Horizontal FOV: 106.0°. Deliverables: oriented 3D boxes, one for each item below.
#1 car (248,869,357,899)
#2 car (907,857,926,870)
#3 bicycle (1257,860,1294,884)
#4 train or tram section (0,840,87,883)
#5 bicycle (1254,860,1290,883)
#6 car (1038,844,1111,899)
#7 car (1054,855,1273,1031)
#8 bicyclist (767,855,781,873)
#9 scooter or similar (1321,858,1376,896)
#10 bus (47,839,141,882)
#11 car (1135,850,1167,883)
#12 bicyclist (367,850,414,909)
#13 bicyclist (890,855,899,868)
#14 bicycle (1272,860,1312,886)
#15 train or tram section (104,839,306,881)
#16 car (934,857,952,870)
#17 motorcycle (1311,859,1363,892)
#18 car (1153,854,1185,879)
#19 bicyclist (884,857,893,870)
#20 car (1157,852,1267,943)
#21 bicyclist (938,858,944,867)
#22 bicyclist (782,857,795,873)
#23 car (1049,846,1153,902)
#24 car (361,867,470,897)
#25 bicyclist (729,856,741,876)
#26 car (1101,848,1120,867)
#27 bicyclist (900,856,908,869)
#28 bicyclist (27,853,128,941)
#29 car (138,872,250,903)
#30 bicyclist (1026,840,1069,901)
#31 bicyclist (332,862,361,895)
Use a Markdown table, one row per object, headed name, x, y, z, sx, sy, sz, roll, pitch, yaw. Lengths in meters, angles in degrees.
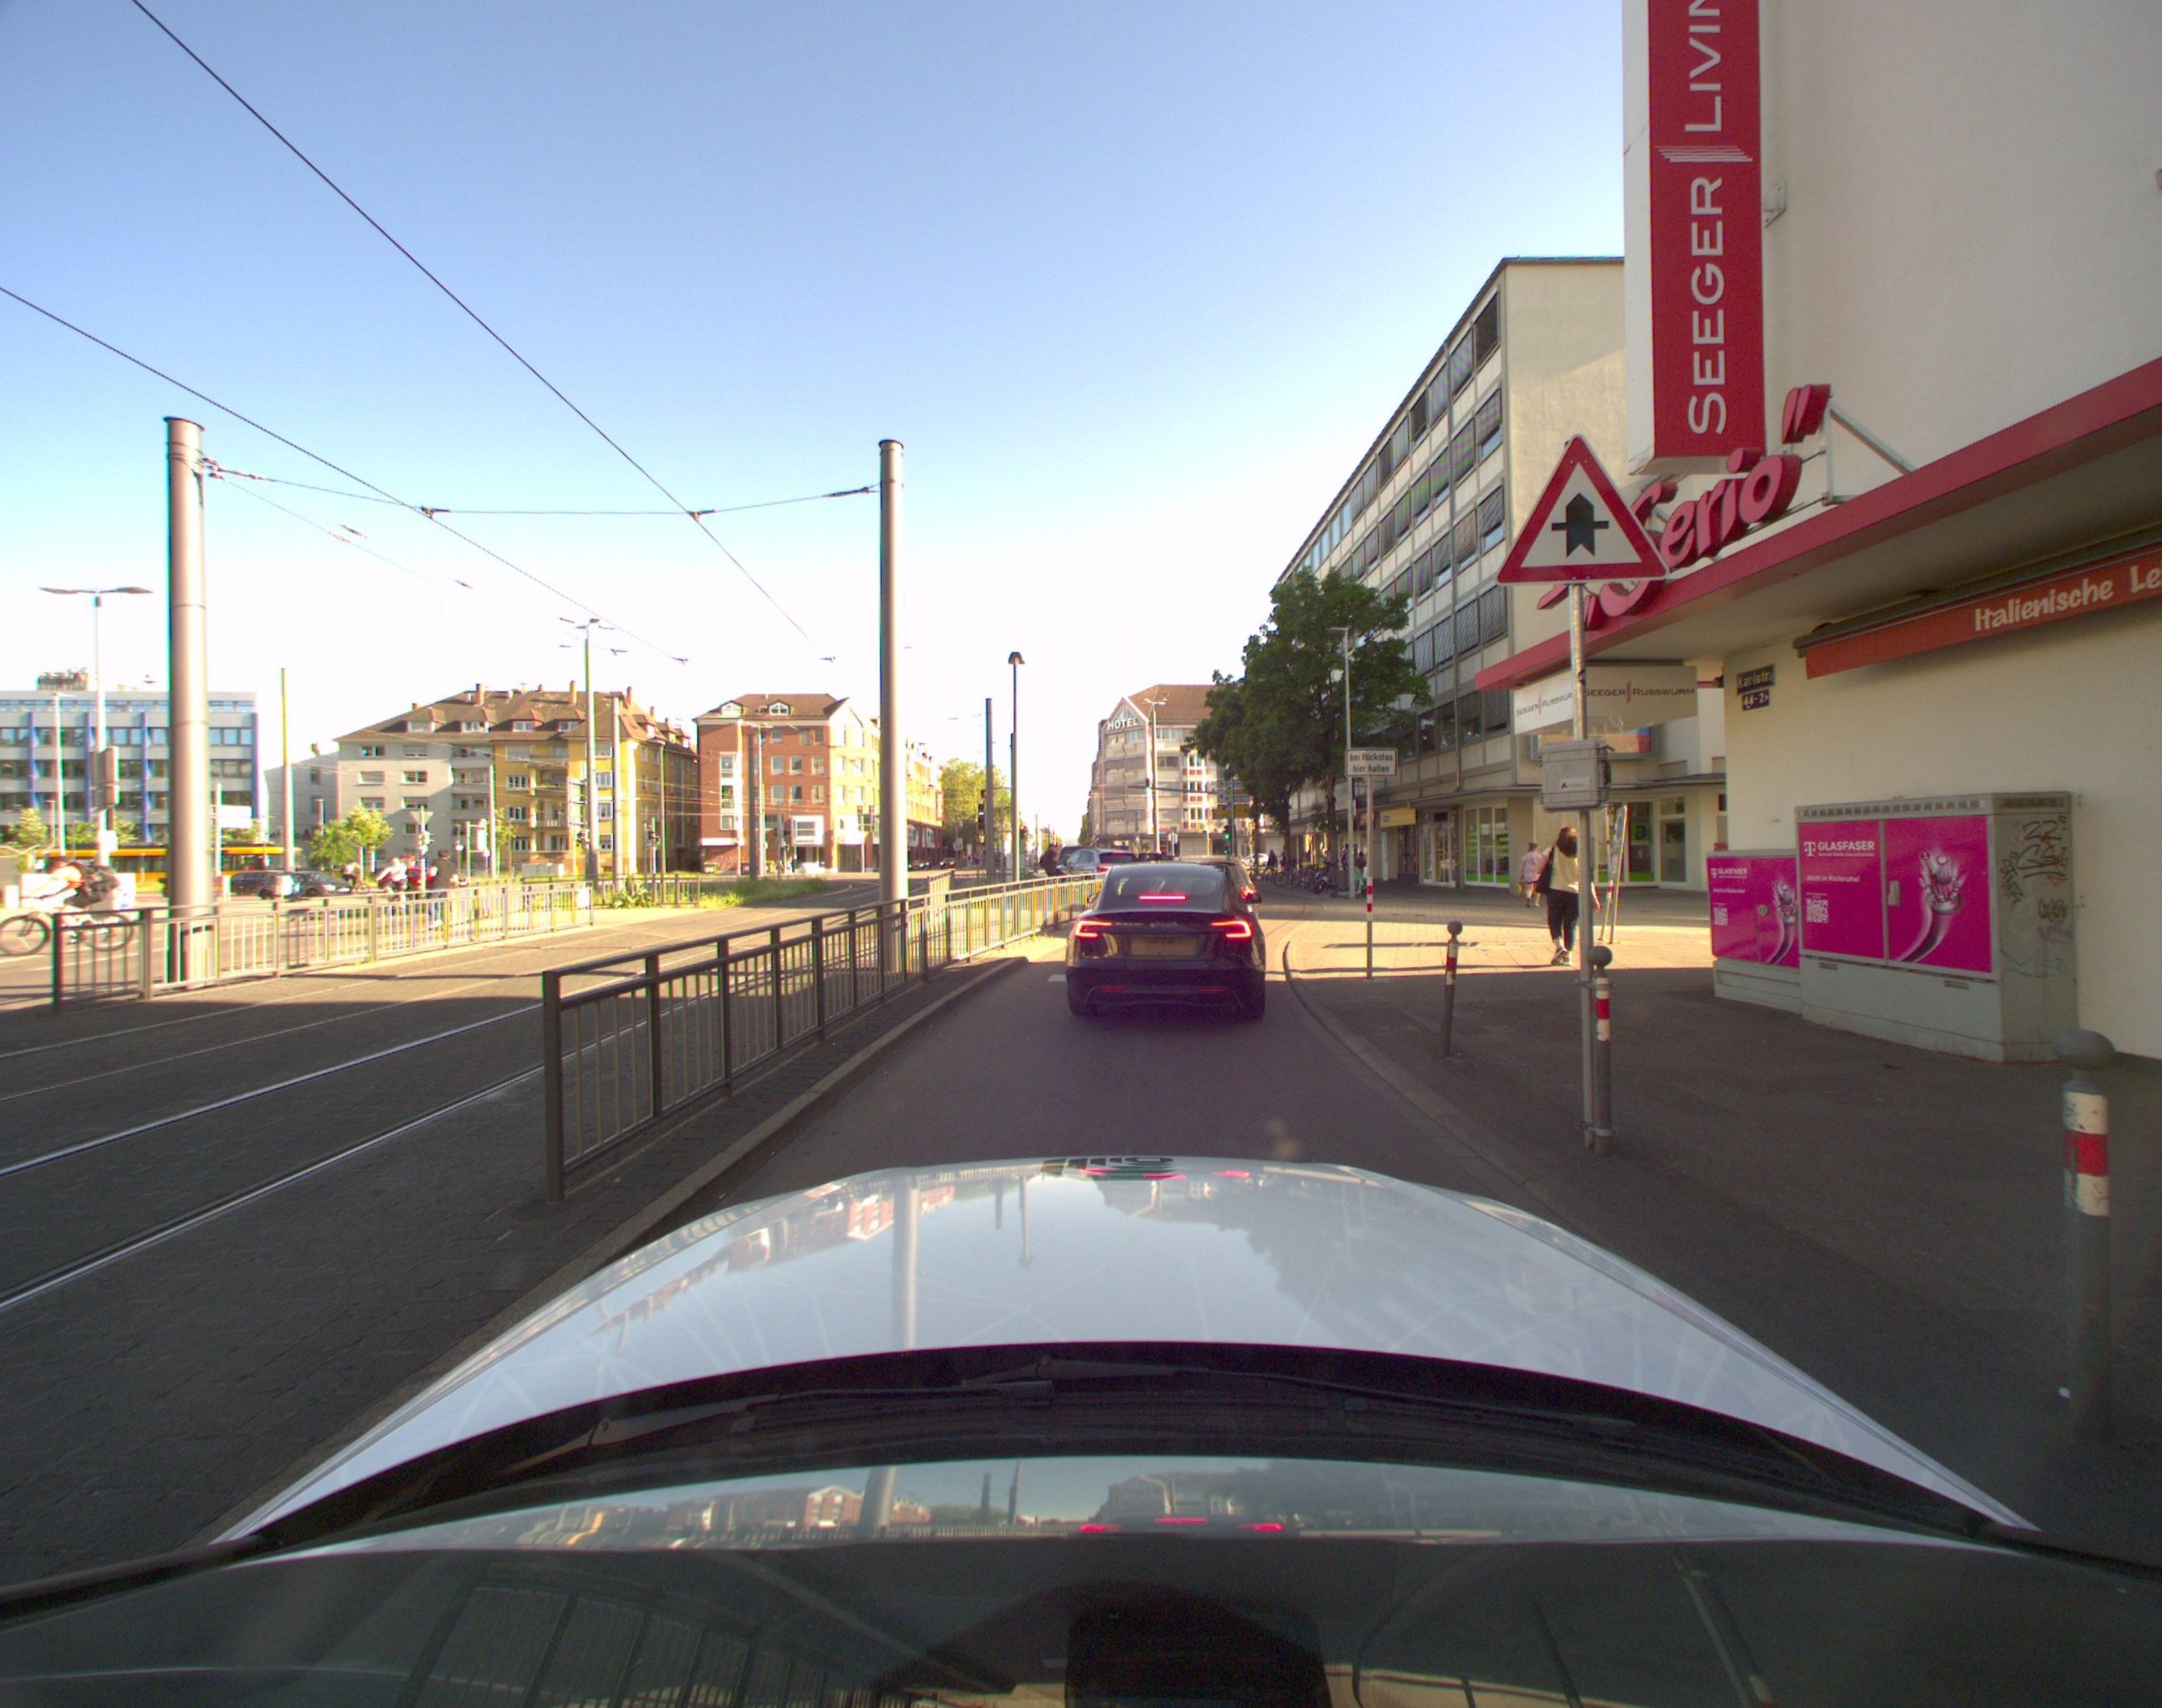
| name | x | y | z | sx | sy | sz | roll | pitch | yaw |
| --- | --- | --- | --- | --- | --- | --- | --- | --- | --- |
| car | -40.637 | 1.547 | 42.586 | 3.851 | 1.526 | 1.640 | 0 | -1 | -9 |
| car | -20.515 | 1.188 | 101.936 | 1.706 | 1.527 | 4.032 | 0 | -1 | -3 |
| bicycle | 9.144 | 0.836 | 38.223 | 1.643 | 1.099 | 0.350 | 0 | -1 | 3 |
| train or tram section | -83.189 | 0.557 | 60.192 | 13.674 | 3.131 | 2.724 | 0 | -1 | -11 |
| bicycle | 9.209 | 0.840 | 39.249 | 1.643 | 1.099 | 0.350 | 0 | -1 | 3 |
| car | -0.343 | 0.665 | 32.664 | 1.997 | 2.014 | 3.980 | -1 | 0 | -15 |
| car | 0.917 | 0.755 | 8.819 | 1.820 | 1.455 | 4.007 | 0 | -1 | 7 |
| bicyclist | -25.862 | 0.836 | 68.531 | 0.895 | 1.503 | 0.696 | 0 | -1 | 1 |
| scooter or similar | 8.902 | 0.763 | 27.109 | 1.625 | 1.215 | 0.649 | -1 | -1 | 32 |
| bus | -74.743 | 0.506 | 61.738 | 3.517 | 3.131 | 2.761 | 0 | -1 | -11 |
| car | 3.947 | 0.702 | 46.271 | 1.592 | 1.778 | 3.982 | 0 | -1 | 2 |
| bicyclist | -20.895 | 0.762 | 24.640 | 0.753 | 1.759 | 0.754 | 0 | -1 | 4 |
| bicyclist | -22.682 | 0.877 | 98.959 | 0.780 | 1.563 | 0.747 | -1 | 0 | 3 |
| bicycle | 9.122 | 0.828 | 35.268 | 1.643 | 1.099 | 0.350 | 0 | -1 | 3 |
| train or tram section | -67.394 | 0.461 | 62.922 | 11.225 | 3.131 | 2.797 | 0 | -1 | -9 |
| car | -18.086 | 1.240 | 106.630 | 1.692 | 1.731 | 3.706 | 0 | -1 | 0 |
| motorcycle | 9.148 | 0.782 | 29.179 | 1.701 | 1.173 | 0.541 | 0 | -1 | 0 |
| car | 5.856 | 0.813 | 54.352 | 1.814 | 1.615 | 3.828 | 0 | -1 | 2 |
| bicyclist | -22.540 | 1.140 | 95.360 | 0.781 | 1.563 | 0.747 | 0 | -1 | 1 |
| car | 2.394 | 0.702 | 15.110 | 1.741 | 1.454 | 4.009 | -1 | 0 | 8 |
| bicyclist | -23.293 | 1.381 | 135.241 | 0.780 | 1.563 | 0.747 | 0 | -1 | 3 |
| bicyclist | -26.890 | 1.016 | 74.943 | 0.699 | 1.471 | 0.975 | -1 | 0 | 9 |
| car | 0.559 | 0.618 | 26.624 | 1.891 | 1.662 | 4.126 | 0 | -1 | -23 |
| car | -39.453 | 1.651 | 48.385 | 4.585 | 1.700 | 1.993 | 0 | -1 | -10 |
| bicyclist | -26.124 | 0.914 | 61.492 | 0.631 | 1.503 | 0.696 | 0 | -1 | 1 |
| car | 2.772 | 0.300 | 76.716 | 1.713 | 1.751 | 3.755 | 0 | -1 | 2 |
| bicyclist | -22.298 | 1.043 | 102.436 | 0.780 | 1.563 | 0.747 | -1 | 0 | 3 |
| bicyclist | -17.849 | 0.750 | 14.504 | 1.046 | 1.521 | 0.388 | 0 | -1 | -28 |
| car | -50.619 | 1.875 | 46.572 | 3.952 | 1.685 | 1.903 | 0 | -1 | -11 |
| bicyclist | -0.925 | 0.449 | 22.385 | 0.763 | 1.628 | 0.967 | 0 | -1 | -37 |
| bicyclist | -41.226 | 1.378 | 45.720 | 0.900 | 1.808 | 0.788 | 0 | -1 | -10 |
